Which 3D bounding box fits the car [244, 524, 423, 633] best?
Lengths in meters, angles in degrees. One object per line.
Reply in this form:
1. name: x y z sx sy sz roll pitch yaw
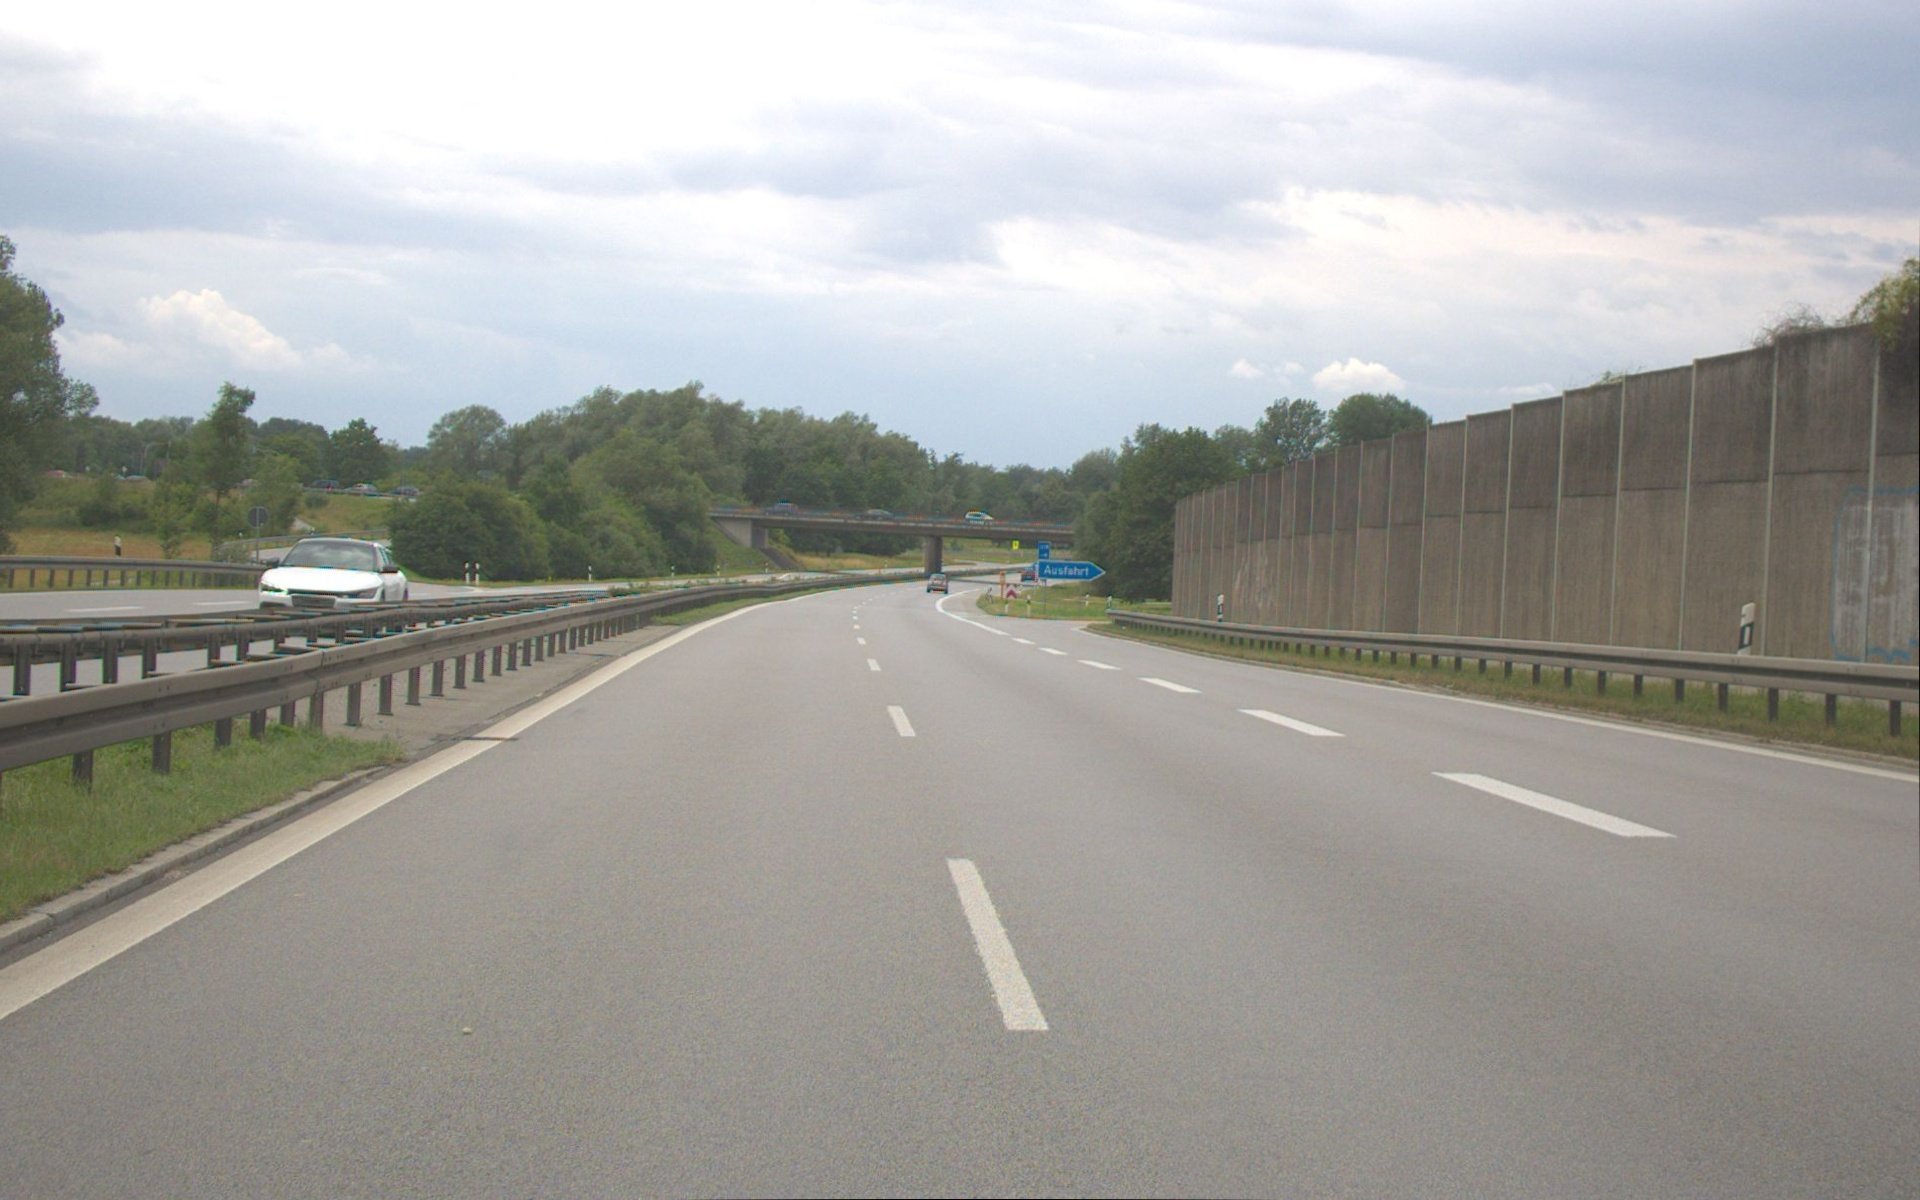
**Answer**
1. car: -10.051 -0.368 55.516 1.993 1.609 5.029 2 1 -1
